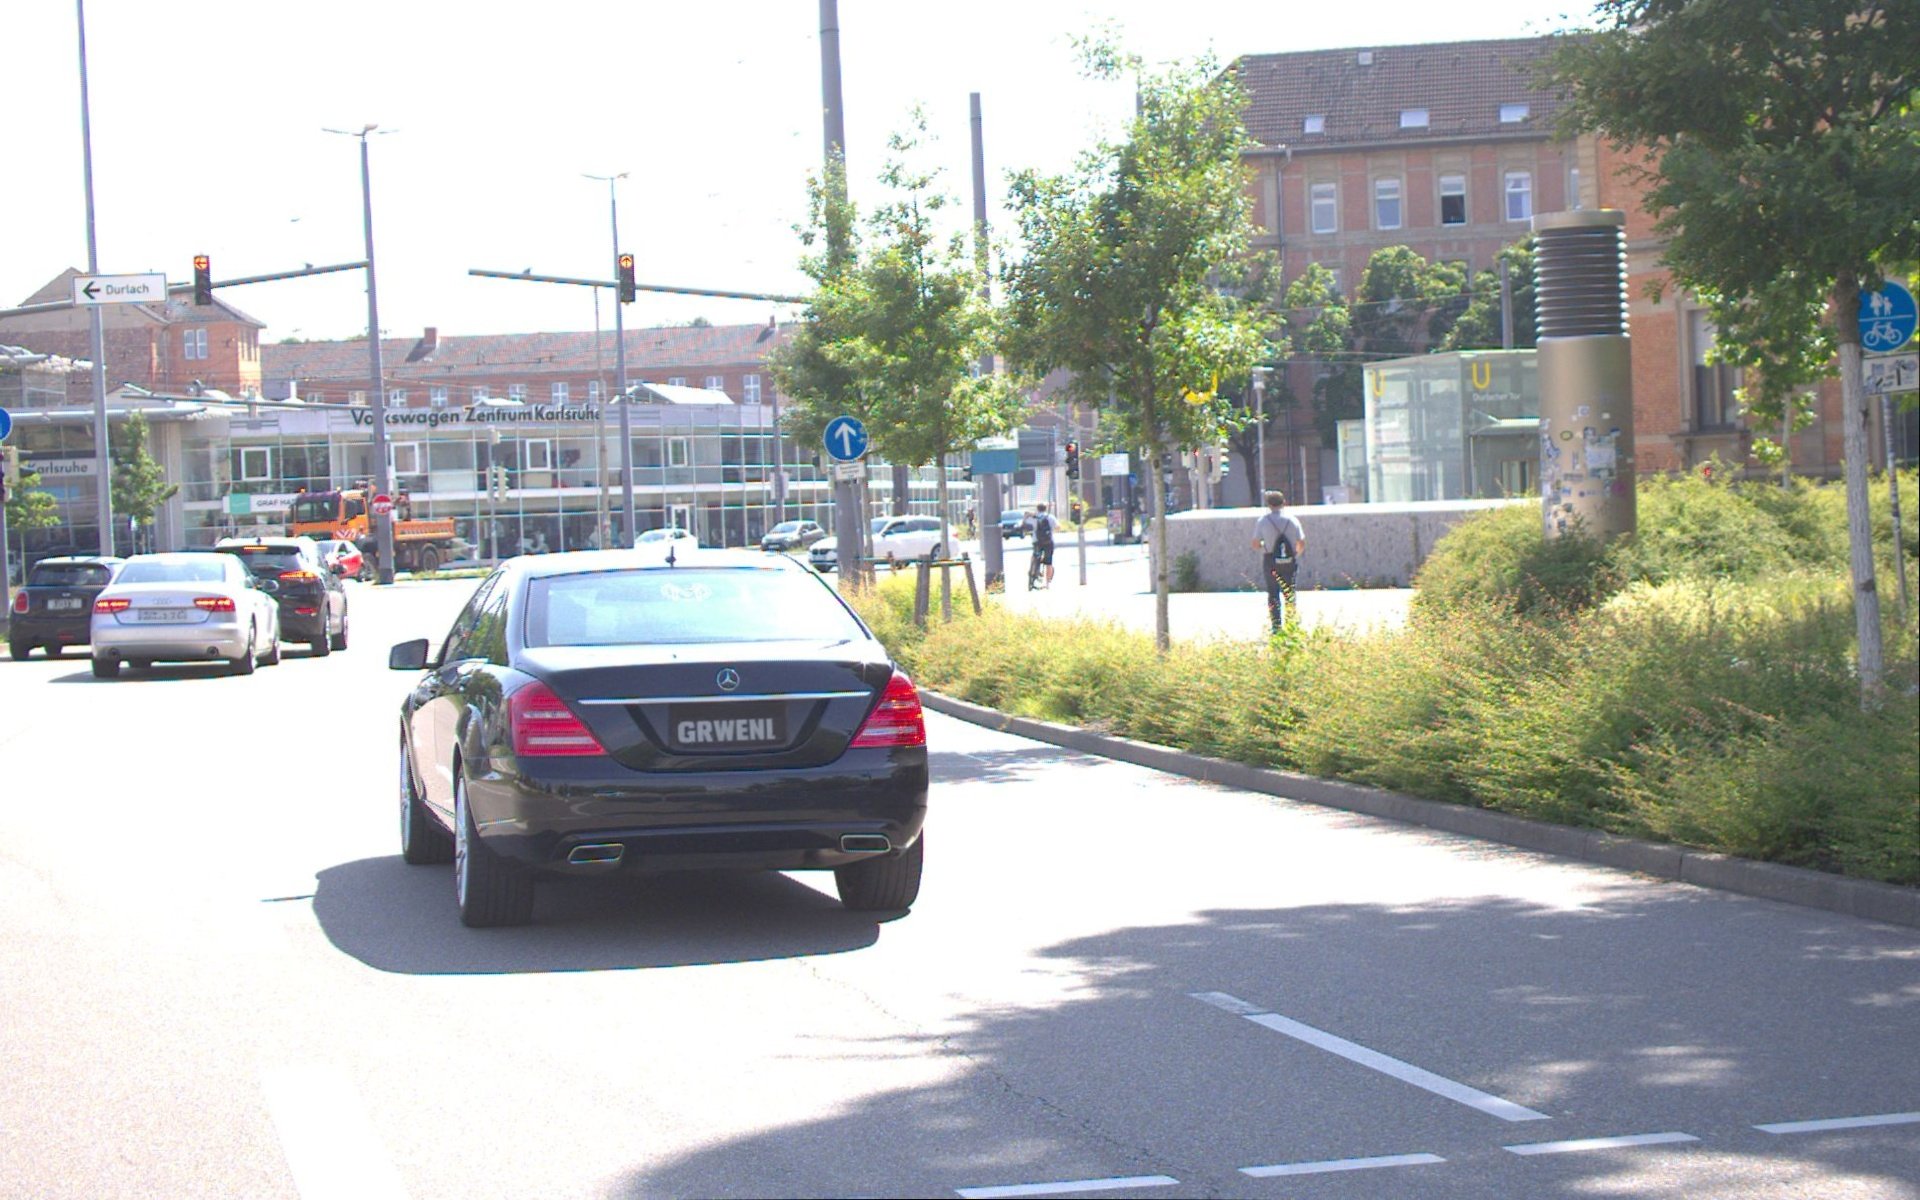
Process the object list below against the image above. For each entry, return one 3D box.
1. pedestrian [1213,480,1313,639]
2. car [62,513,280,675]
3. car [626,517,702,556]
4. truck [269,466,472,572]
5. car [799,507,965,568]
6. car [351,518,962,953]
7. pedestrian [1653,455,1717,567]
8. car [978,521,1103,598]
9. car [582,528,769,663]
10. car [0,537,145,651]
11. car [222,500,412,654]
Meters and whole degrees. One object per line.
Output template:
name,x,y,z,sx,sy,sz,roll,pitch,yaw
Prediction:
pedestrian,3.369,-0.457,38.273,0.870,1.719,0.800,-2,1,-10
car,-9.567,-0.116,41.980,1.993,1.809,4.001,-2,1,-5
car,-12.501,-2.690,145.198,1.795,1.505,3.997,-1,1,17
truck,-21.853,-3.050,128.011,3.069,3.717,7.918,-1,2,29
car,-2.129,-1.718,94.683,4.264,1.505,1.800,-3,2,-37
car,-1.515,0.500,15.116,1.858,1.525,4.715,-3,0,-15
pedestrian,10.967,-1.342,52.012,0.648,1.655,0.650,-2,1,-25
car,1.767,-0.900,74.274,1.795,1.505,4.274,-2,1,13
car,-3.450,-0.084,41.147,1.794,1.505,4.001,-1,1,-11
car,-13.035,-0.111,49.442,1.794,1.505,4.001,-2,1,-2
car,-9.004,-0.364,48.422,1.993,2.006,4.001,-2,1,-2
